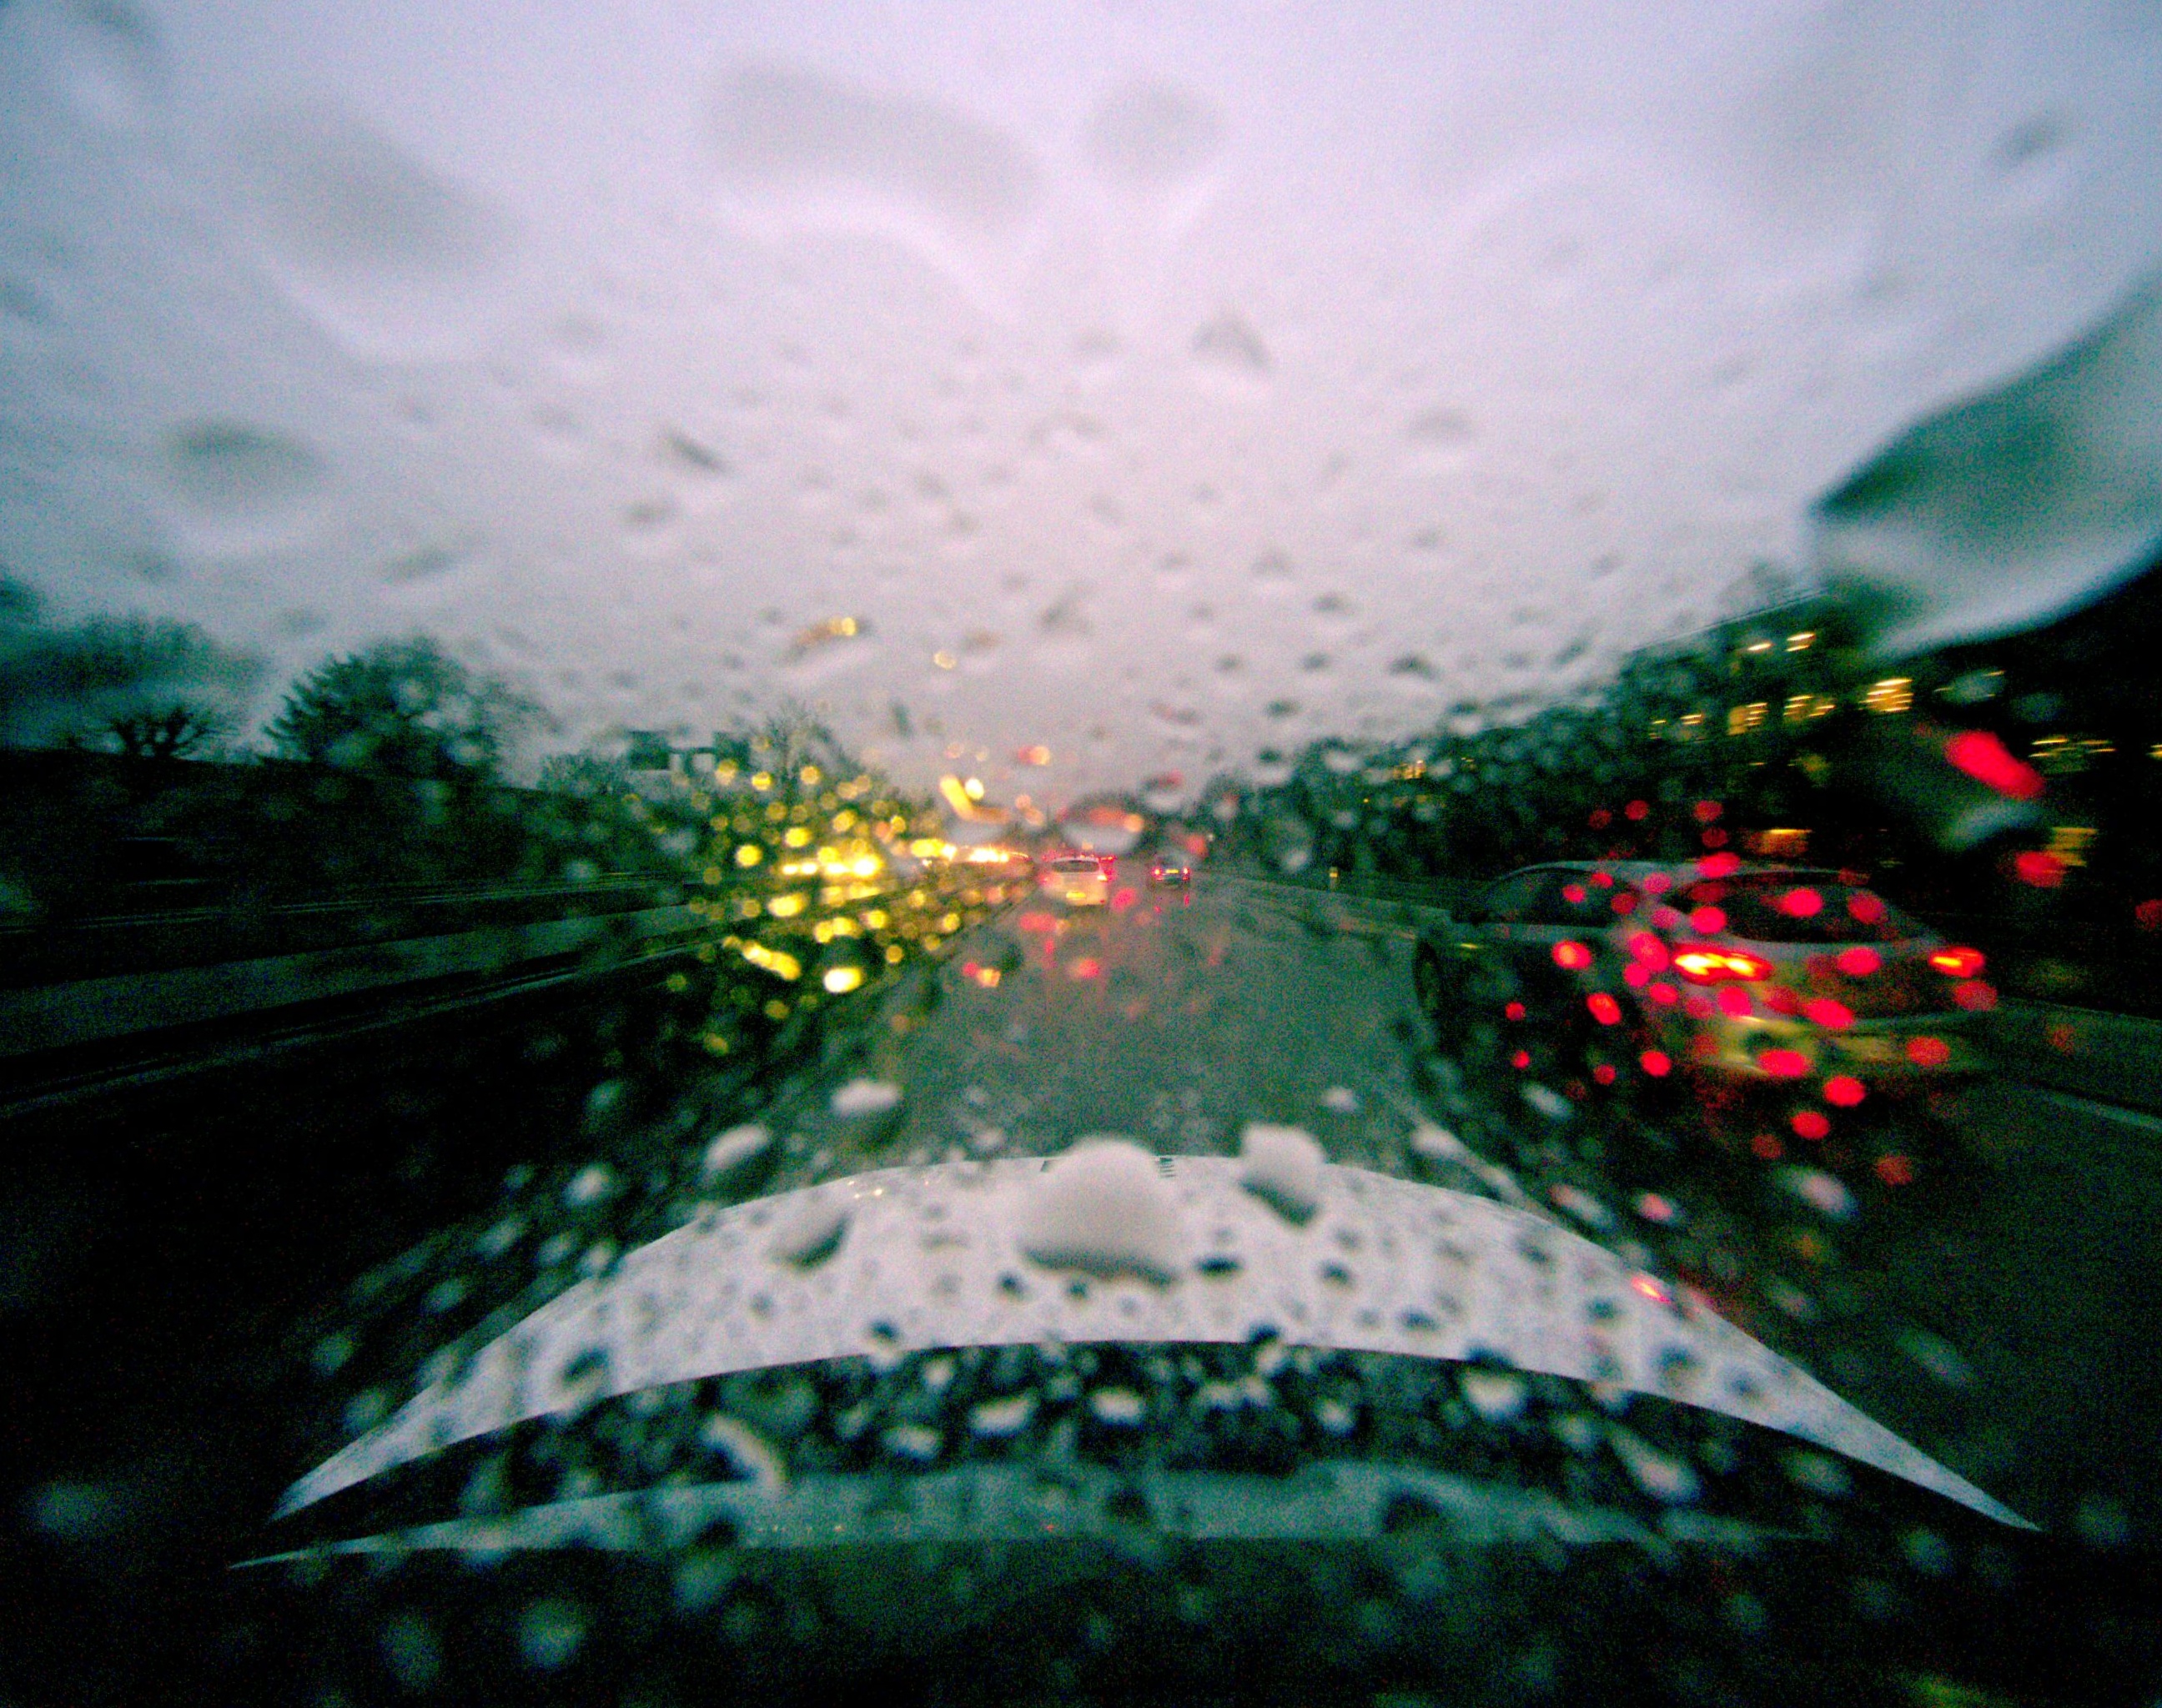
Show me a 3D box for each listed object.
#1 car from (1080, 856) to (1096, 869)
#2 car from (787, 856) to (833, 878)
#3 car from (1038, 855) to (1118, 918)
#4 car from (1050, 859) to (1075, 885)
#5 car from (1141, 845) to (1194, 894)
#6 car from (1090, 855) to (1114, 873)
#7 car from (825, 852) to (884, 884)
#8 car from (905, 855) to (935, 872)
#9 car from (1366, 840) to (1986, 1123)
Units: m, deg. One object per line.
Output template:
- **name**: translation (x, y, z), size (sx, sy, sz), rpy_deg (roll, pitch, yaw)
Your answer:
- **car**: translation (0.897, 1.062, 101.587), size (1.927, 1.546, 3.772), rpy_deg (0, 0, -1)
- **car**: translation (-19.645, 0.923, 59.289), size (1.831, 1.556, 4.355), rpy_deg (0, 0, 0)
- **car**: translation (-0.044, 0.836, 22.798), size (2.018, 1.575, 4.000), rpy_deg (0, 0, 1)
- **car**: translation (-1.485, 1.424, 65.243), size (1.988, 2.013, 3.997), rpy_deg (0, 0, -2)
- **car**: translation (3.764, 0.650, 35.878), size (1.926, 2.019, 3.773), rpy_deg (0, 0, 0)
- **car**: translation (2.023, 0.984, 79.113), size (1.928, 1.546, 3.770), rpy_deg (-7, -1, -2)
- **car**: translation (-11.537, 0.691, 41.780), size (1.831, 1.556, 4.354), rpy_deg (0, 0, 0)
- **car**: translation (-18.647, 1.053, 94.529), size (1.982, 1.913, 4.456), rpy_deg (-1, 0, 8)
- **car**: translation (3.965, 0.687, 6.526), size (1.844, 1.501, 4.261), rpy_deg (0, 0, 0)
